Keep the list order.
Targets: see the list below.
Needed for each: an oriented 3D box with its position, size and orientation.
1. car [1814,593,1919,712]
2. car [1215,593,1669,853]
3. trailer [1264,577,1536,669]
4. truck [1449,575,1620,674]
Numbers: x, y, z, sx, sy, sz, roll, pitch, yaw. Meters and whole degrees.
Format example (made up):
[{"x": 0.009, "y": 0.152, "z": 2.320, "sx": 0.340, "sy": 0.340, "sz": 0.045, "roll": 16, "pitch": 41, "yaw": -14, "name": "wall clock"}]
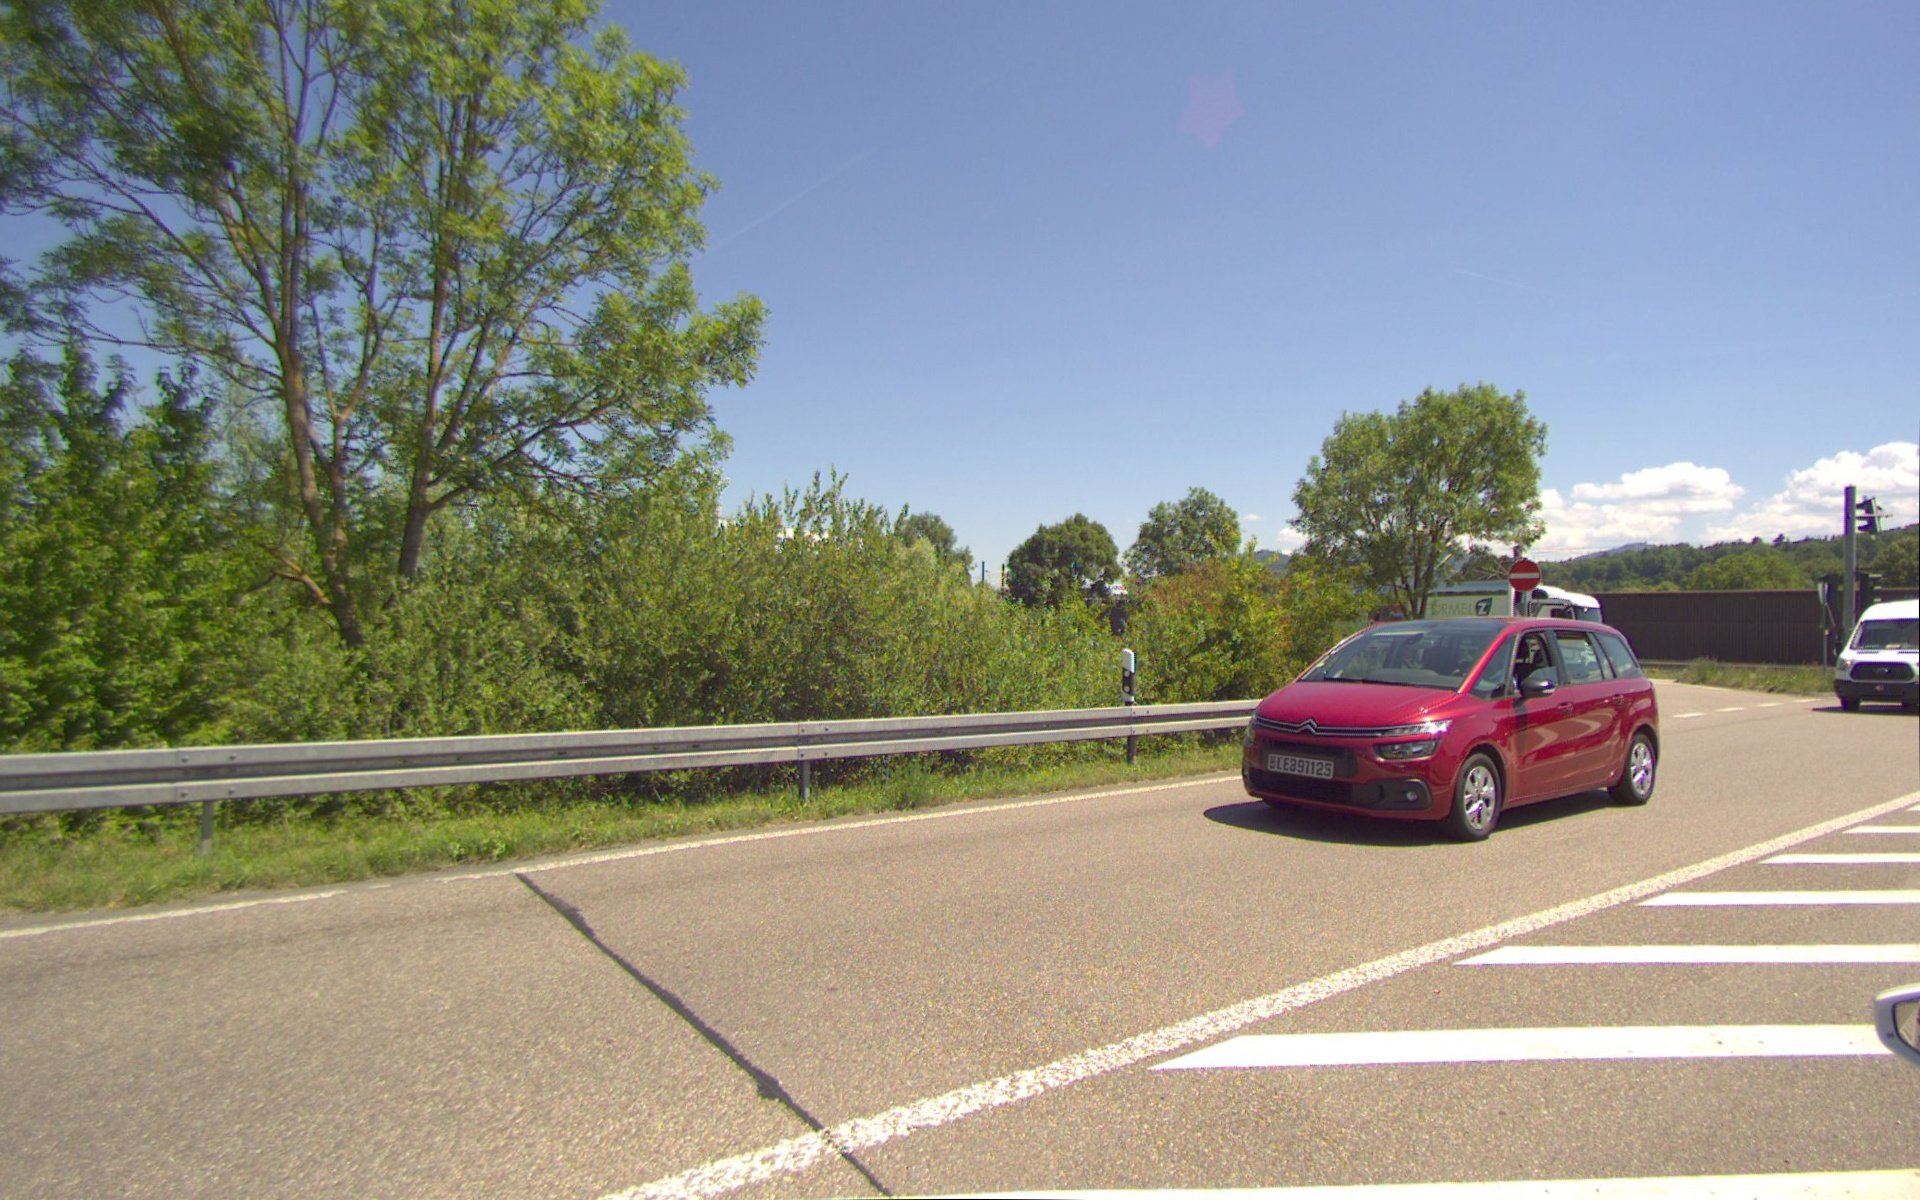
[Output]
[{"x": 21.733, "y": 1.163, "z": 22.531, "sx": 5.519, "sy": 2.448, "sz": 1.986, "roll": 1, "pitch": -3, "yaw": -28, "name": "car"}, {"x": 4.222, "y": 0.898, "z": 8.562, "sx": 4.169, "sy": 1.708, "sz": 1.725, "roll": 2, "pitch": -3, "yaw": -36, "name": "car"}, {"x": 21.271, "y": 1.054, "z": 50.020, "sx": 3.027, "sy": 4.007, "sz": 13.074, "roll": 2, "pitch": -1, "yaw": -31, "name": "trailer"}, {"x": 24.941, "y": 1.046, "z": 43.829, "sx": 3.027, "sy": 4.007, "sz": 5.736, "roll": 2, "pitch": -1, "yaw": -31, "name": "truck"}]
